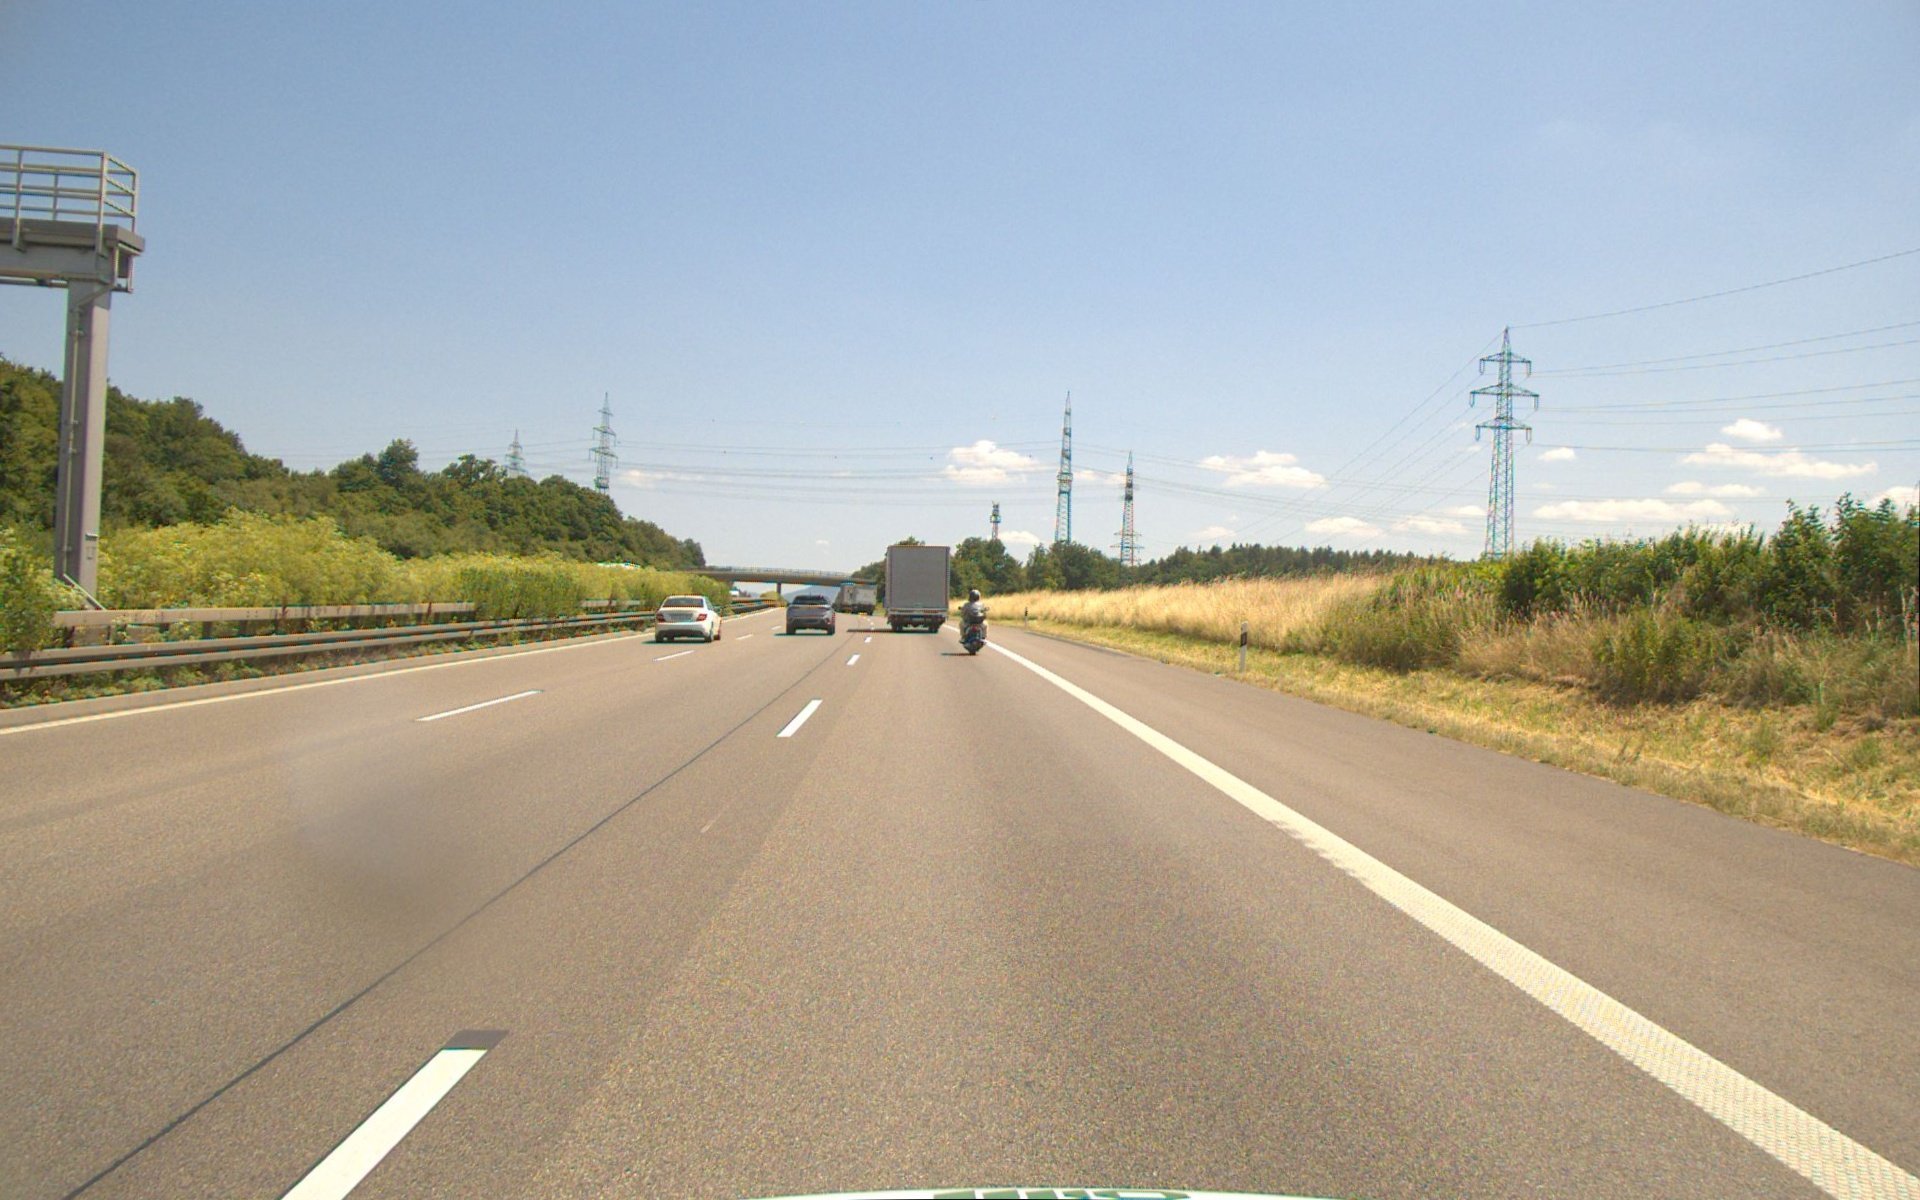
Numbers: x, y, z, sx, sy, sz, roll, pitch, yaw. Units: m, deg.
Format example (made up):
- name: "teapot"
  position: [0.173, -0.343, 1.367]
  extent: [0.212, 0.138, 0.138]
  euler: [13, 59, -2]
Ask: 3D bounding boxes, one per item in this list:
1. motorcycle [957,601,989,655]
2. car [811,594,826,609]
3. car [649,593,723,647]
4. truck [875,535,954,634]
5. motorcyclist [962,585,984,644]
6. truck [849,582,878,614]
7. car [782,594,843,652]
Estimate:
- name: "motorcycle"
  position: [0.330, 0.709, 42.734]
  extent: [0.793, 1.329, 1.782]
  euler: [0, 0, -1]
- name: "car"
  position: [-19.221, 0.191, 225.019]
  extent: [1.864, 1.959, 3.997]
  euler: [0, 1, -4]
- name: "car"
  position: [-8.490, 0.579, 51.447]
  extent: [1.783, 1.567, 3.913]
  euler: [0, 1, -2]
- name: "truck"
  position: [-1.925, -0.639, 71.697]
  extent: [3.155, 3.993, 9.059]
  euler: [0, 0, -1]
- name: "motorcyclist"
  position: [0.334, 0.364, 42.725]
  extent: [0.560, 1.505, 0.700]
  euler: [0, 1, -1]
- name: "truck"
  position: [-12.009, -0.255, 205.496]
  extent: [3.415, 3.981, 7.283]
  euler: [0, 0, -4]
- name: "car"
  position: [-5.498, 0.835, 62.110]
  extent: [1.953, 2.049, 4.000]
  euler: [0, 1, 0]
